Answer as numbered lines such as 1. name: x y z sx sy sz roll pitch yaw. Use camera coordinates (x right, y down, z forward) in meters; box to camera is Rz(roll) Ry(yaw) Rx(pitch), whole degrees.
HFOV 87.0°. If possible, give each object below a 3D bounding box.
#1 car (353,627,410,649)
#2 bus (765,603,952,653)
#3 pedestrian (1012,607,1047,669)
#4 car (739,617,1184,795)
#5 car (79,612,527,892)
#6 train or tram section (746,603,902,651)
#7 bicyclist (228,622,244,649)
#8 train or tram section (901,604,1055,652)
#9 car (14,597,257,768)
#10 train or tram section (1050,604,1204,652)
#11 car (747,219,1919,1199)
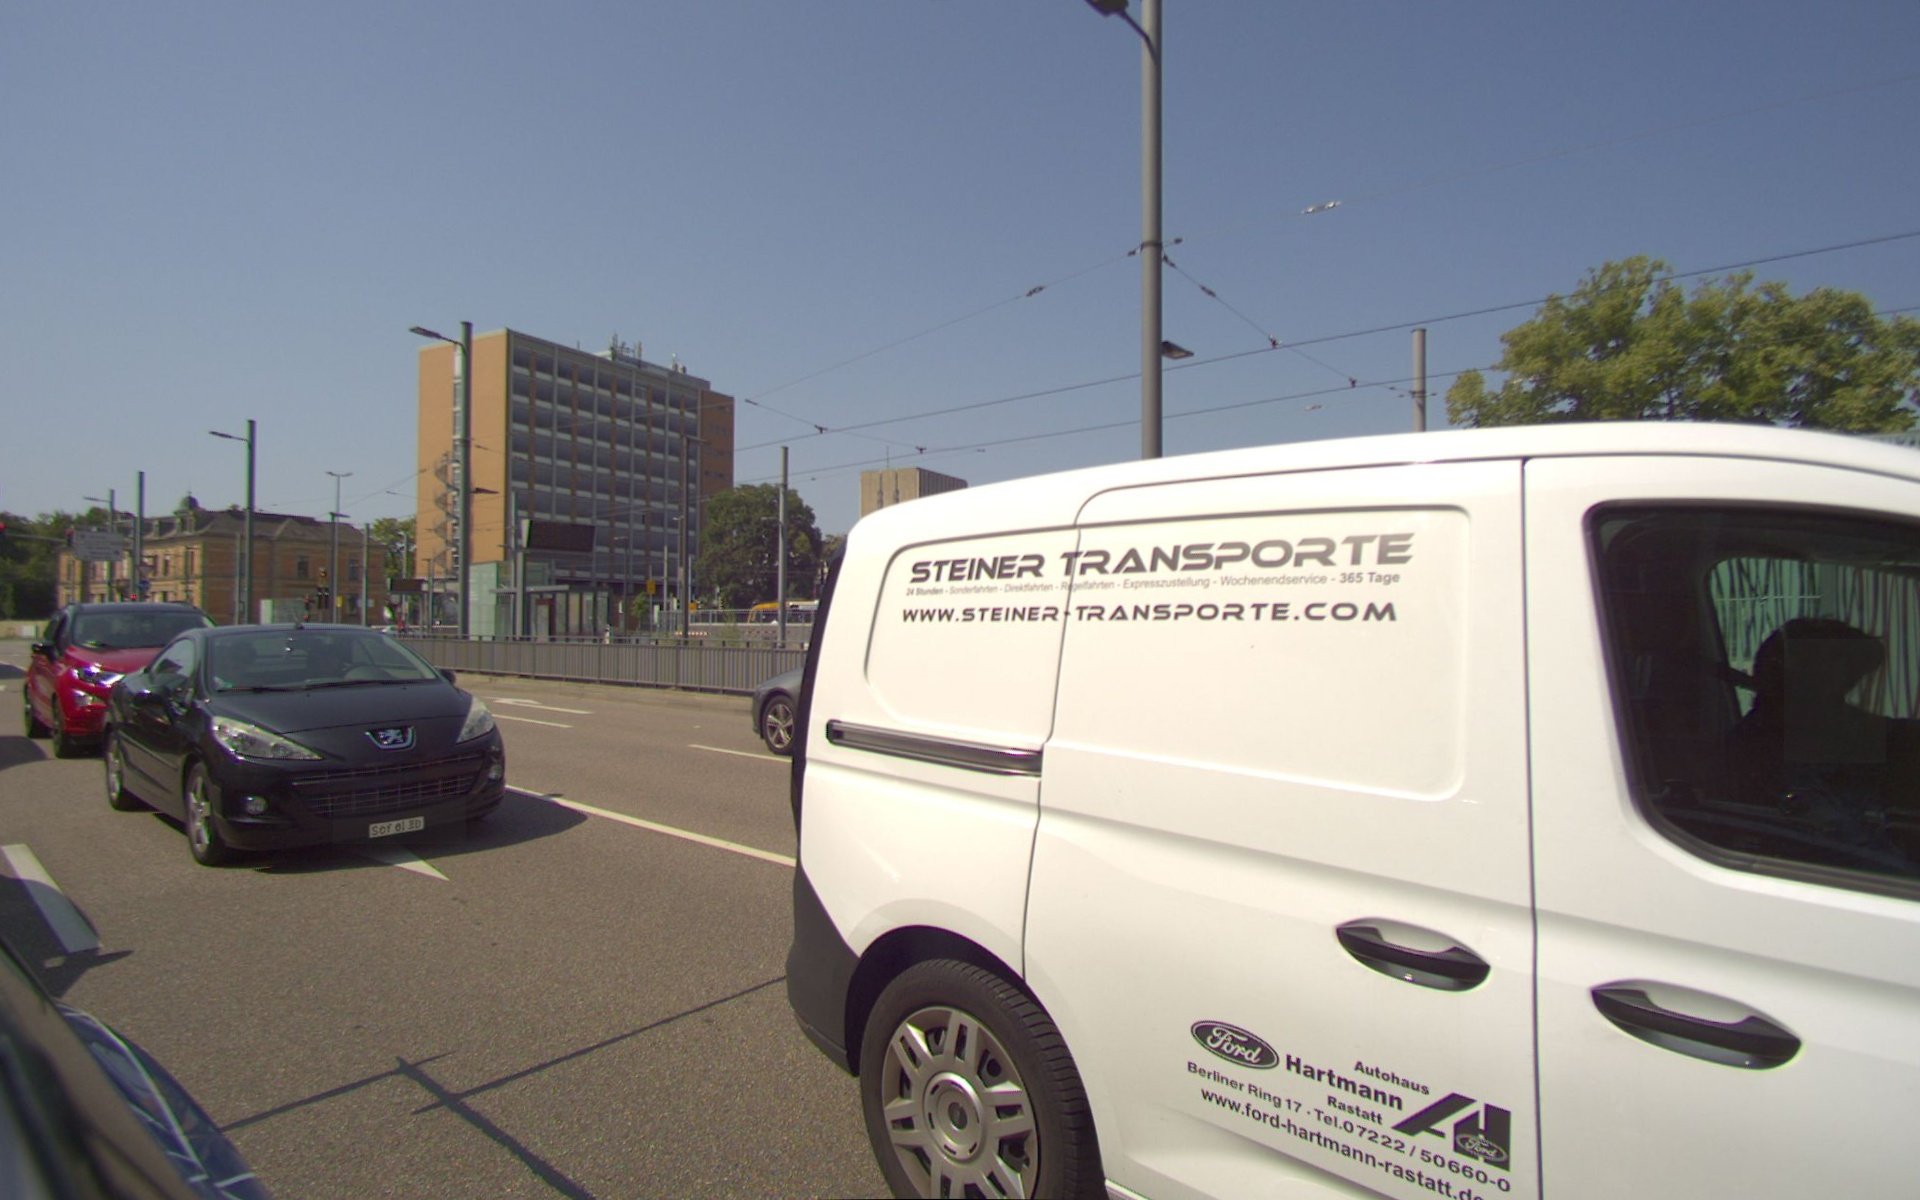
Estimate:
1. car: -46.284 3.018 80.988 3.818 1.597 1.692 -1 0 -37
2. bus: -7.333 1.985 73.614 13.205 3.319 3.354 -1 0 -4
3. pedestrian: 2.043 1.118 29.804 0.761 1.801 0.735 -2 -3 42
4. car: -0.162 0.941 10.405 4.570 1.446 1.728 -1 -3 41
5. car: -4.750 0.822 7.104 3.799 1.424 1.671 -1 -1 41
6. train or tram section: -10.739 2.158 80.632 12.180 3.794 2.002 0 -2 -4
7. bicyclist: -51.736 2.530 72.359 0.845 1.916 0.666 -1 -1 -28
8. train or tram section: 1.403 2.242 81.534 12.180 3.794 2.002 0 -2 -4
9. car: -9.554 0.818 11.615 3.967 1.633 1.612 -1 -1 43
10. train or tram section: 13.543 2.283 82.435 12.180 3.794 2.002 0 -2 -4
11. car: 1.605 0.484 1.870 4.237 1.834 1.729 -1 -1 41
